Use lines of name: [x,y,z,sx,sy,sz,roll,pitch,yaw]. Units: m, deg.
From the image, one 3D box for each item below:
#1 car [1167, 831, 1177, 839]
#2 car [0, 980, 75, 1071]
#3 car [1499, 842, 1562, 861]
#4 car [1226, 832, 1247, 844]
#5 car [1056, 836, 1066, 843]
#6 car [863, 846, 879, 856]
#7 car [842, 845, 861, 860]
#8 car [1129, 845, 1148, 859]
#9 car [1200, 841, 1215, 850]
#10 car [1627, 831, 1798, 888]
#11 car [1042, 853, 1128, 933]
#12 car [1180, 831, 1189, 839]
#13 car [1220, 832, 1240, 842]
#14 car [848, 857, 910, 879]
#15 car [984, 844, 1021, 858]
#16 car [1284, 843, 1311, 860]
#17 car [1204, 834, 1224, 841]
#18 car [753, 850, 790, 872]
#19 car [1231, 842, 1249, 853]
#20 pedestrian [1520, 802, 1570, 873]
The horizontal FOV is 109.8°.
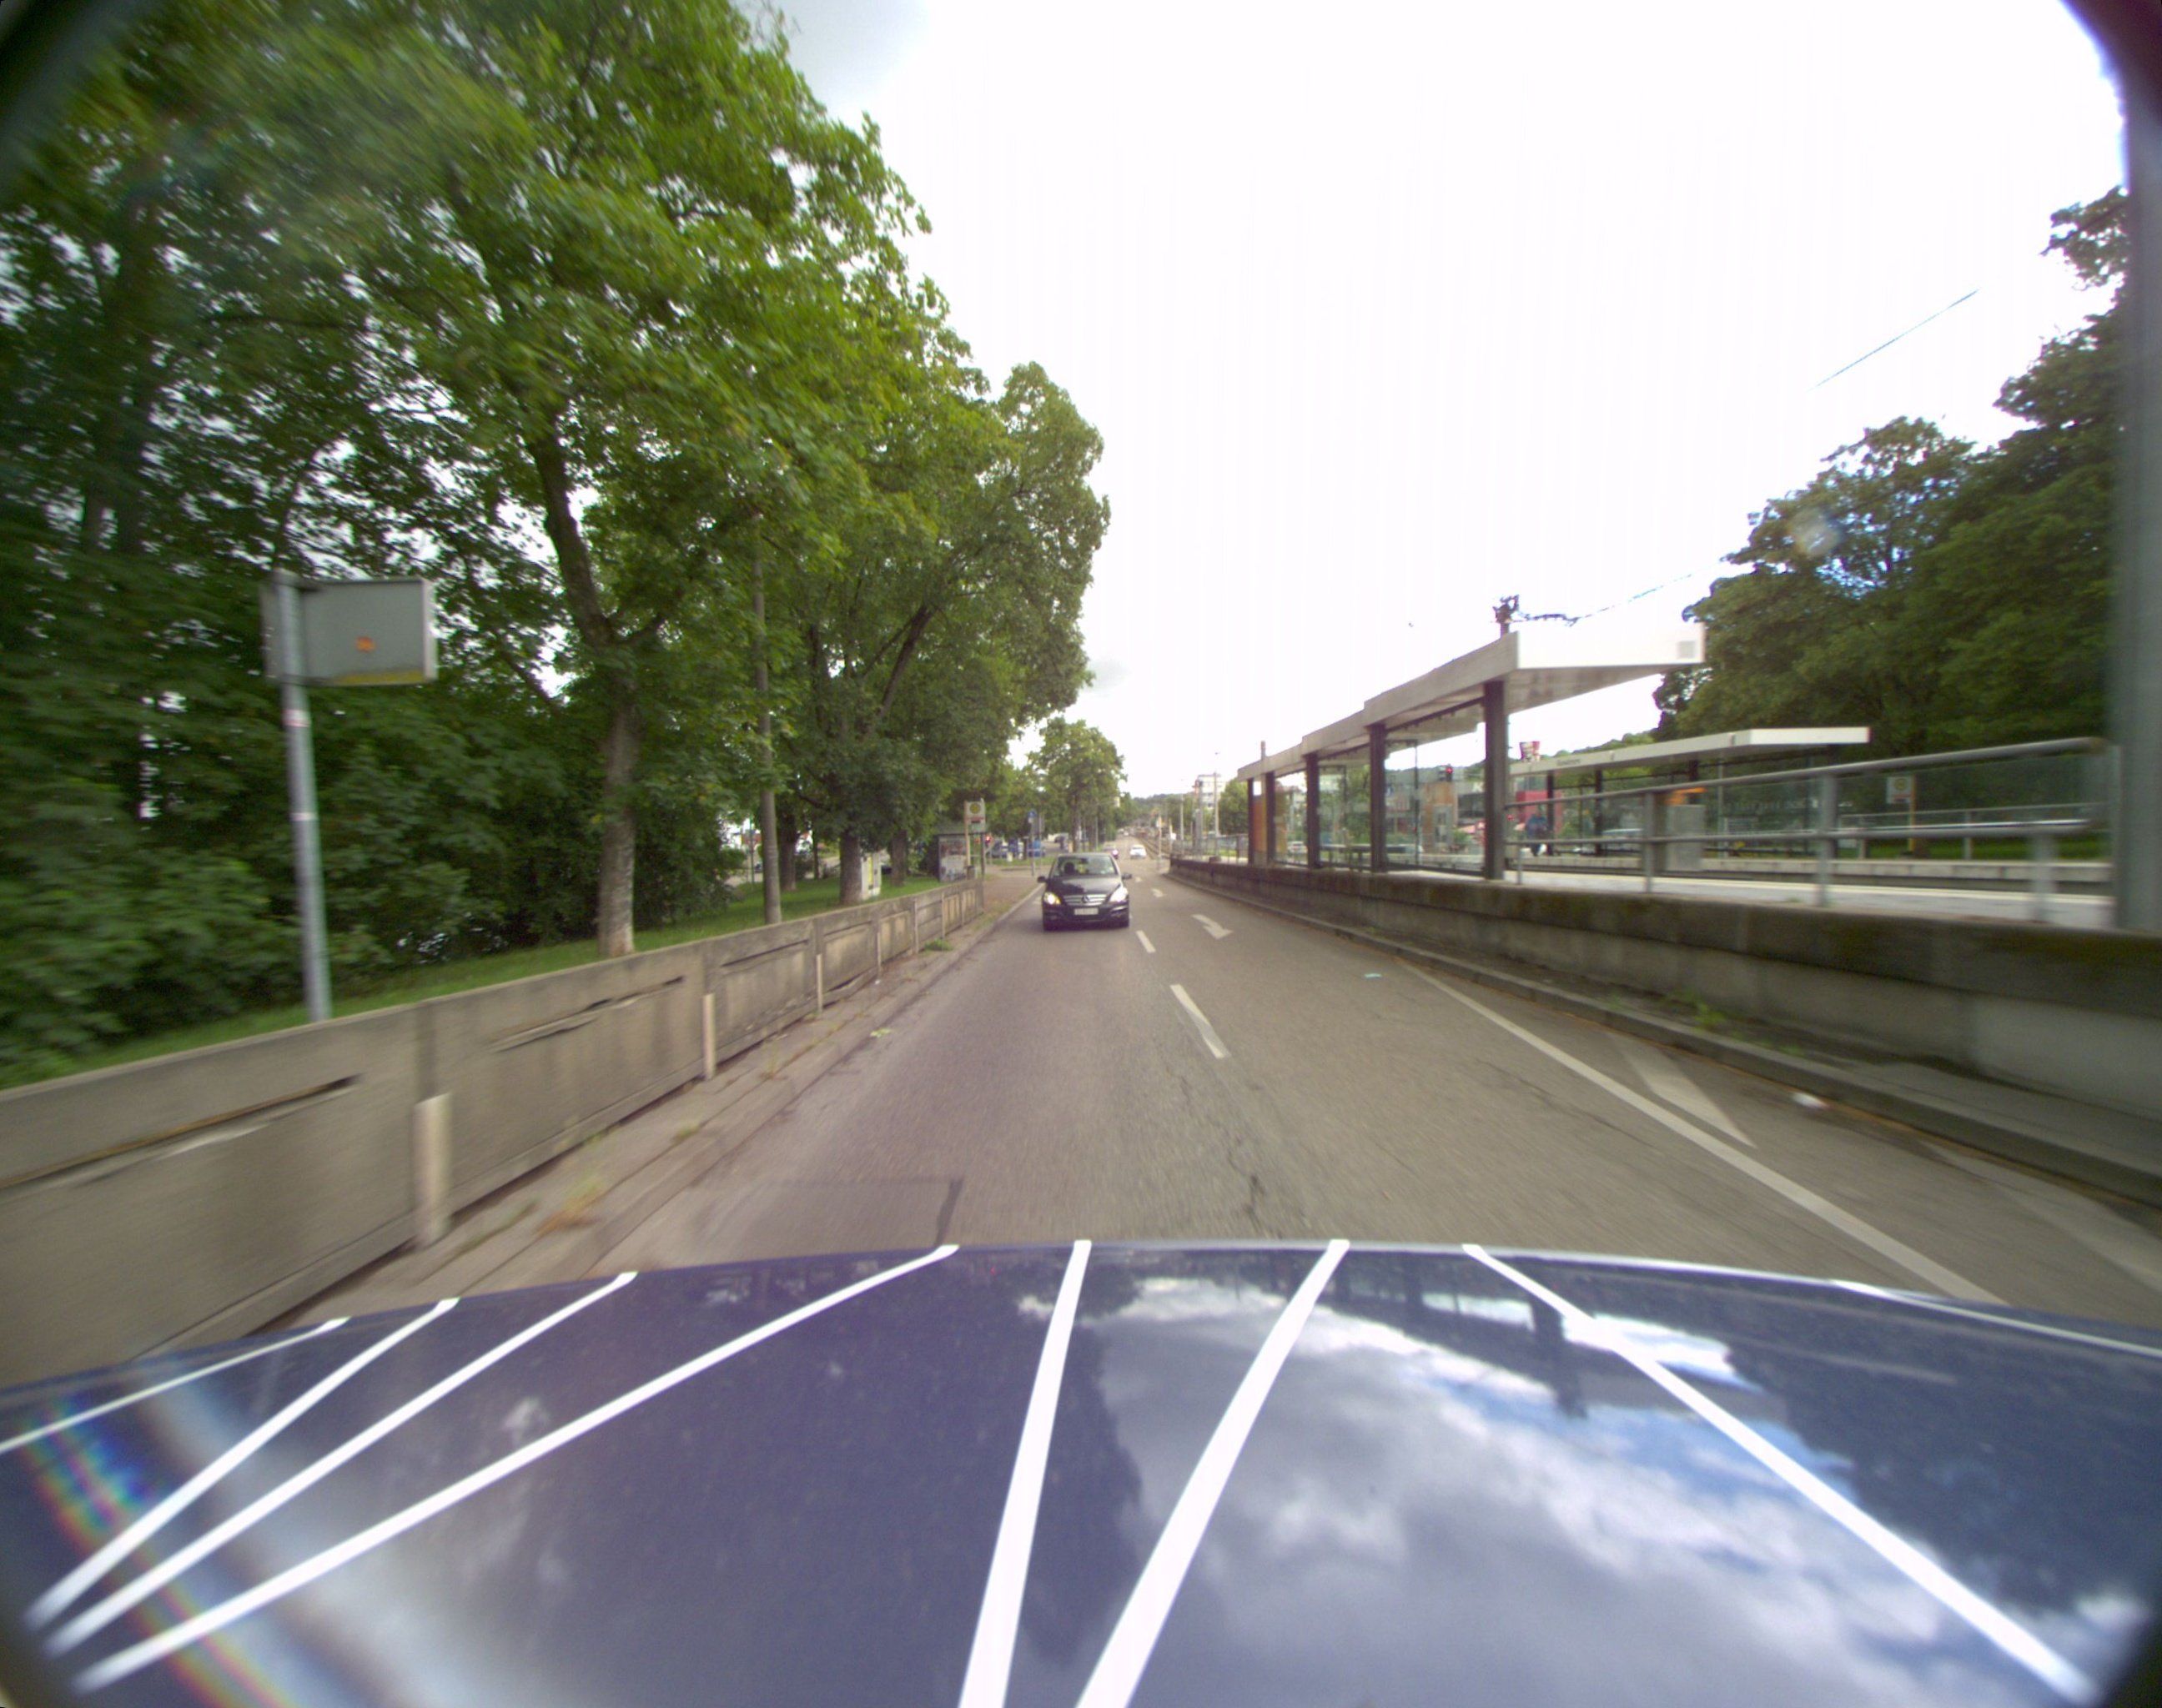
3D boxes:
car: [24.066,-5.072,201.131,1.999,2.002,4.883,-1,2,-2]
car: [-18.418,2.971,11.731,1.422,1.318,3.444,-4,2,-10]
car: [35.473,-0.219,60.048,3.884,1.400,1.848,0,2,12]
car: [35.059,-3.585,171.433,4.480,2.733,2.288,0,2,3]
car: [-4.832,-3.483,182.374,1.998,1.629,4.326,2,2,4]
car: [-35.671,-0.556,129.173,2.000,1.456,3.996,-4,2,-8]
car: [-32.014,-0.261,106.037,1.948,1.832,4.247,-4,2,-9]
car: [6.488,-0.256,86.069,1.786,1.436,3.999,-3,2,2]
car: [20.812,-1.397,125.437,1.599,1.438,4.051,0,2,-3]
car: [21.359,0.092,26.018,1.998,1.665,4.622,-3,2,0]
car: [0.206,0.808,17.724,1.786,1.614,4.001,0,1,4]
car: [27.955,-5.070,205.152,1.999,2.002,4.105,-1,2,-1]
car: [35.557,-4.041,181.236,4.354,1.908,2.000,-3,2,7]
car: [-15.256,1.037,57.432,4.160,1.517,1.705,-1,2,9]
car: [-9.751,-0.397,94.454,4.215,1.687,1.837,-1,1,-16]
car: [23.453,-0.335,82.541,1.714,1.741,4.398,0,2,1]
car: [33.130,-4.215,189.192,4.610,1.484,2.000,-3,2,7]
car: [-30.420,0.669,74.875,1.722,1.832,4.406,-3,2,0]
car: [23.089,-0.917,110.371,1.690,1.438,3.998,1,2,-2]
pedestrian: [14.667,-0.523,24.048,0.972,2.173,0.976,-2,2,2]
